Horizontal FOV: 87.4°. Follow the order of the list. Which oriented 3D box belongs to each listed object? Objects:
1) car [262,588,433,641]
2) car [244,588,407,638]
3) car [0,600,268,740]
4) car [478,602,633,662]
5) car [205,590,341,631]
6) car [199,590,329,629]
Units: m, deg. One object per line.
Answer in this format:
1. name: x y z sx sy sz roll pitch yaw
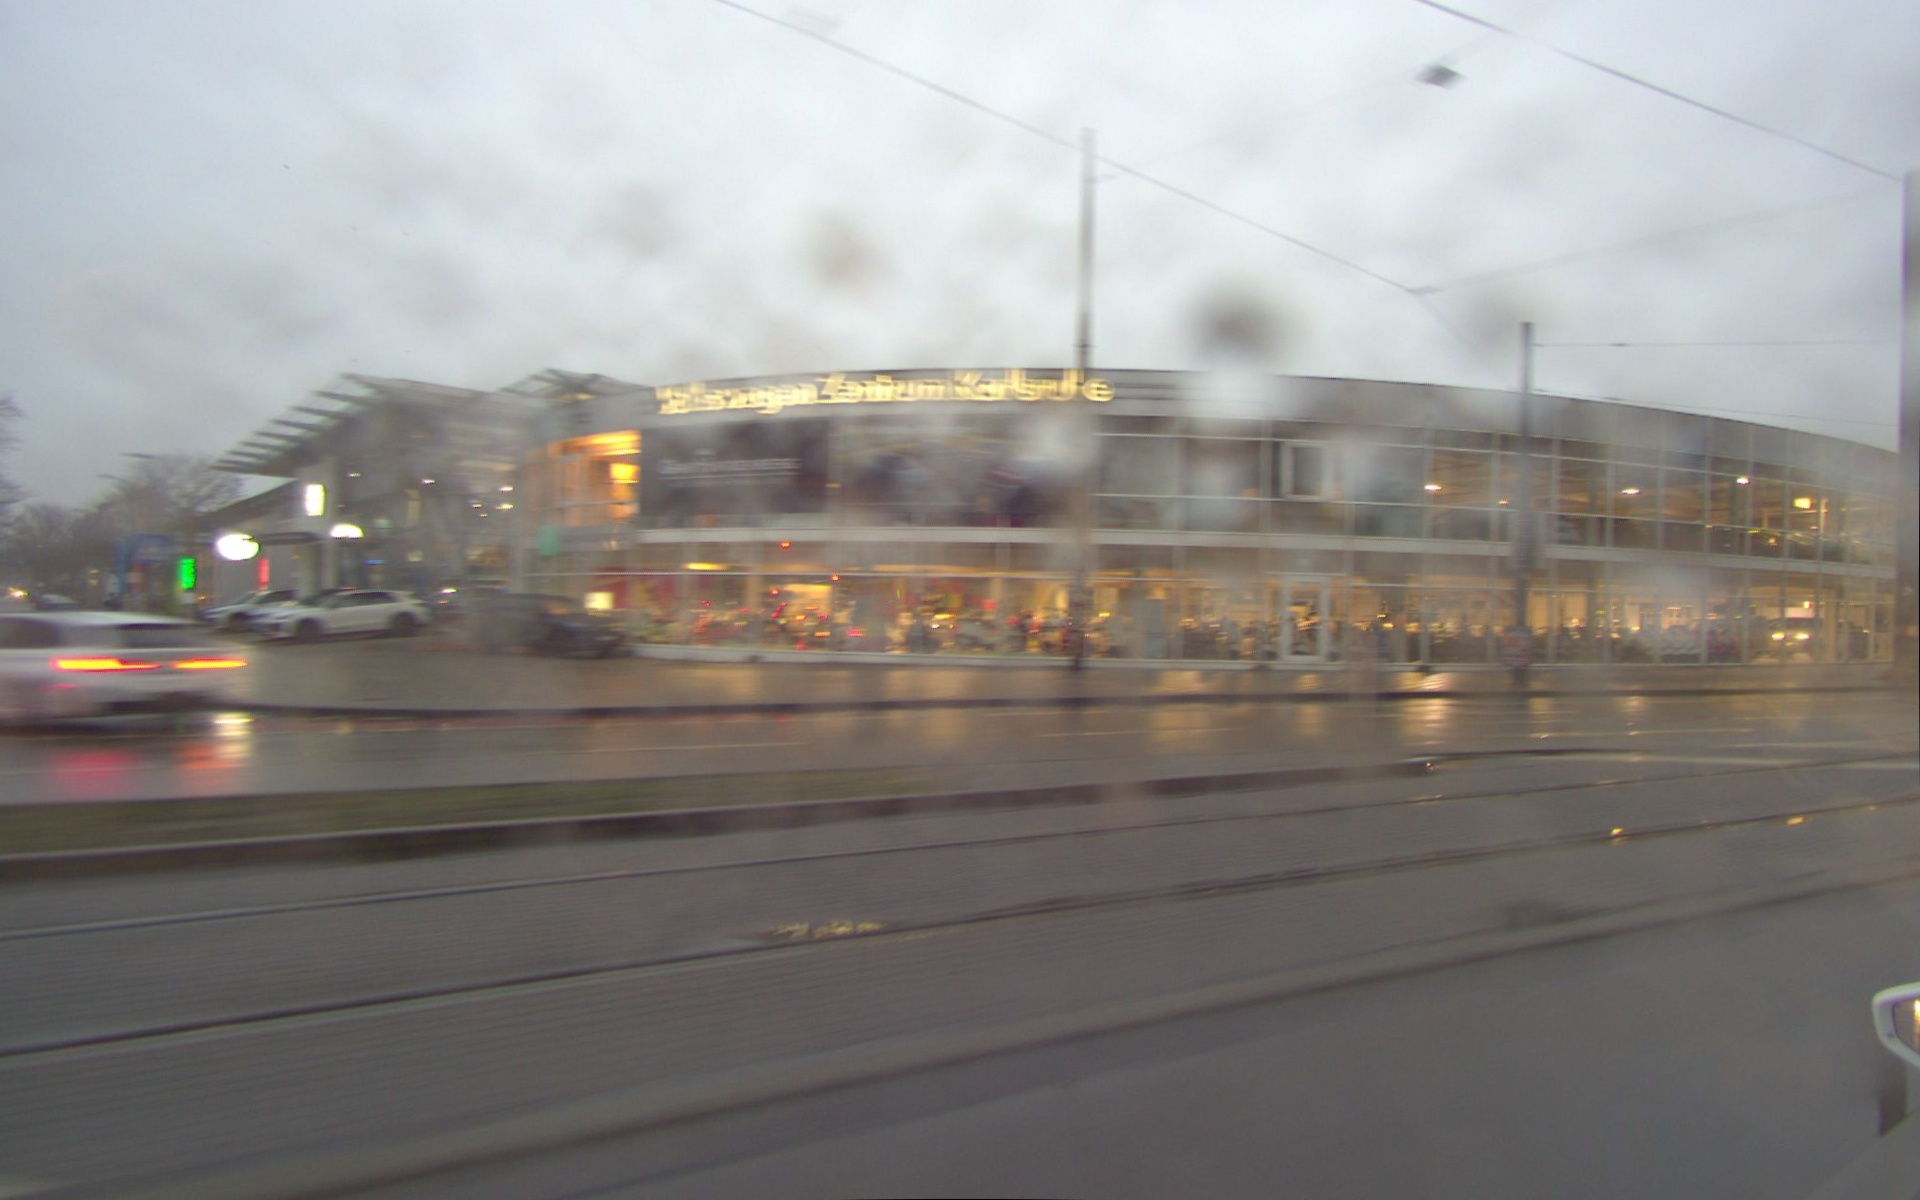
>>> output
1. car: -19.402 0.476 31.942 4.387 1.543 1.862 2 0 -41
2. car: -21.353 0.451 33.894 4.387 1.543 1.862 2 0 -41
3. car: -11.786 0.806 13.066 4.713 1.517 2.001 1 0 15
4. car: -11.061 0.824 27.415 4.218 1.417 1.739 2 0 32
5. car: -28.005 0.444 41.009 4.387 1.543 1.862 2 0 -41
6. car: -29.700 0.427 42.913 4.387 1.543 1.862 2 0 -41
